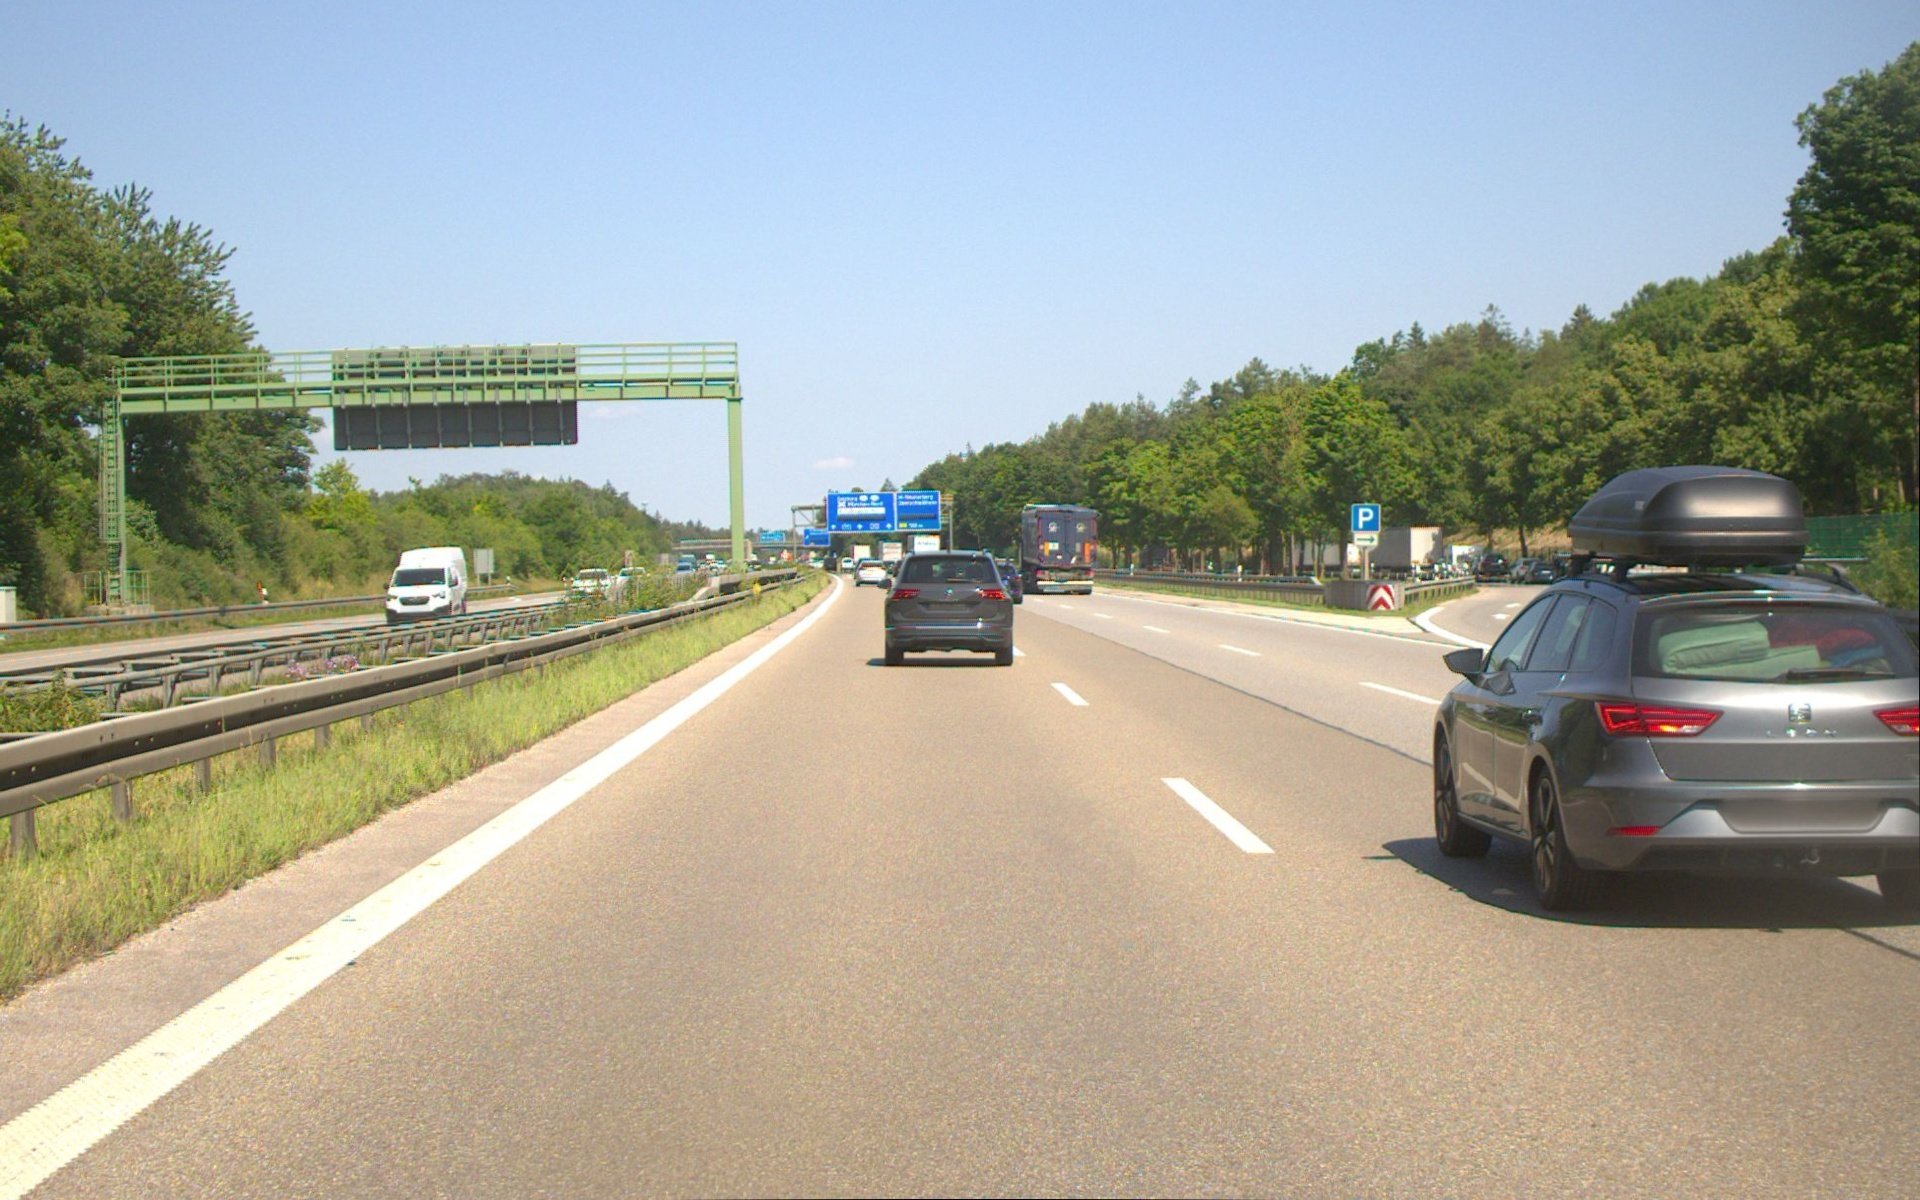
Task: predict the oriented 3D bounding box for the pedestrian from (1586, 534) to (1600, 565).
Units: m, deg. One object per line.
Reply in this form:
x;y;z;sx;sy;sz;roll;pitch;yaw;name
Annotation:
37.357;-2.974;202.805;0.798;1.776;0.642;-1;1;12;pedestrian

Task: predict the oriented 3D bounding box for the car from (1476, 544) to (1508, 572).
35.734;-2.821;231.024;1.656;1.871;4.800;-1;1;3;car

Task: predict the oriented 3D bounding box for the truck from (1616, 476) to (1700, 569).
30.942;-3.452;152.692;3.286;3.933;9.347;-1;1;10;truck

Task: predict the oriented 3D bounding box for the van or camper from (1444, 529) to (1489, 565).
35.930;-3.746;244.135;2.203;2.522;5.876;-1;1;-1;van or camper

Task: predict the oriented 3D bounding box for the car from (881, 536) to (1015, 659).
-0.128;-0.073;49.297;1.799;1.663;4.258;1;1;1;car

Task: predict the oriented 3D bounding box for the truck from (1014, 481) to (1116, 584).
4.584;-3.002;154.037;3.780;4.407;14.052;0;1;-1;truck

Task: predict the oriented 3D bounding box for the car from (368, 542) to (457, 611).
-15.583;-0.694;98.017;1.746;1.824;5.169;-3;1;-1;car

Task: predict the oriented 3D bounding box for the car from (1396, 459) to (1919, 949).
3.225;0.352;15.831;1.665;1.870;4.828;-2;1;-1;car

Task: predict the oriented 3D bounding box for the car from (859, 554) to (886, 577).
-4.875;-1.914;190.679;1.471;1.223;3.410;-1;1;-1;car

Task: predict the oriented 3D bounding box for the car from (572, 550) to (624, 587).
-16.712;-1.471;158.782;1.878;1.605;5.310;-3;1;-1;car

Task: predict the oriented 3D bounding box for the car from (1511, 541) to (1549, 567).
36.695;-2.962;221.375;1.656;1.670;4.652;-1;1;0;car

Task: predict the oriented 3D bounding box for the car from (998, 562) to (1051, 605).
2.222;-0.578;117.635;1.765;1.377;4.258;1;1;1;car

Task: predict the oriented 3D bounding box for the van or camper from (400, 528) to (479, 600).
-19.603;-1.371;129.738;2.038;2.551;6.199;-3;1;-1;van or camper
